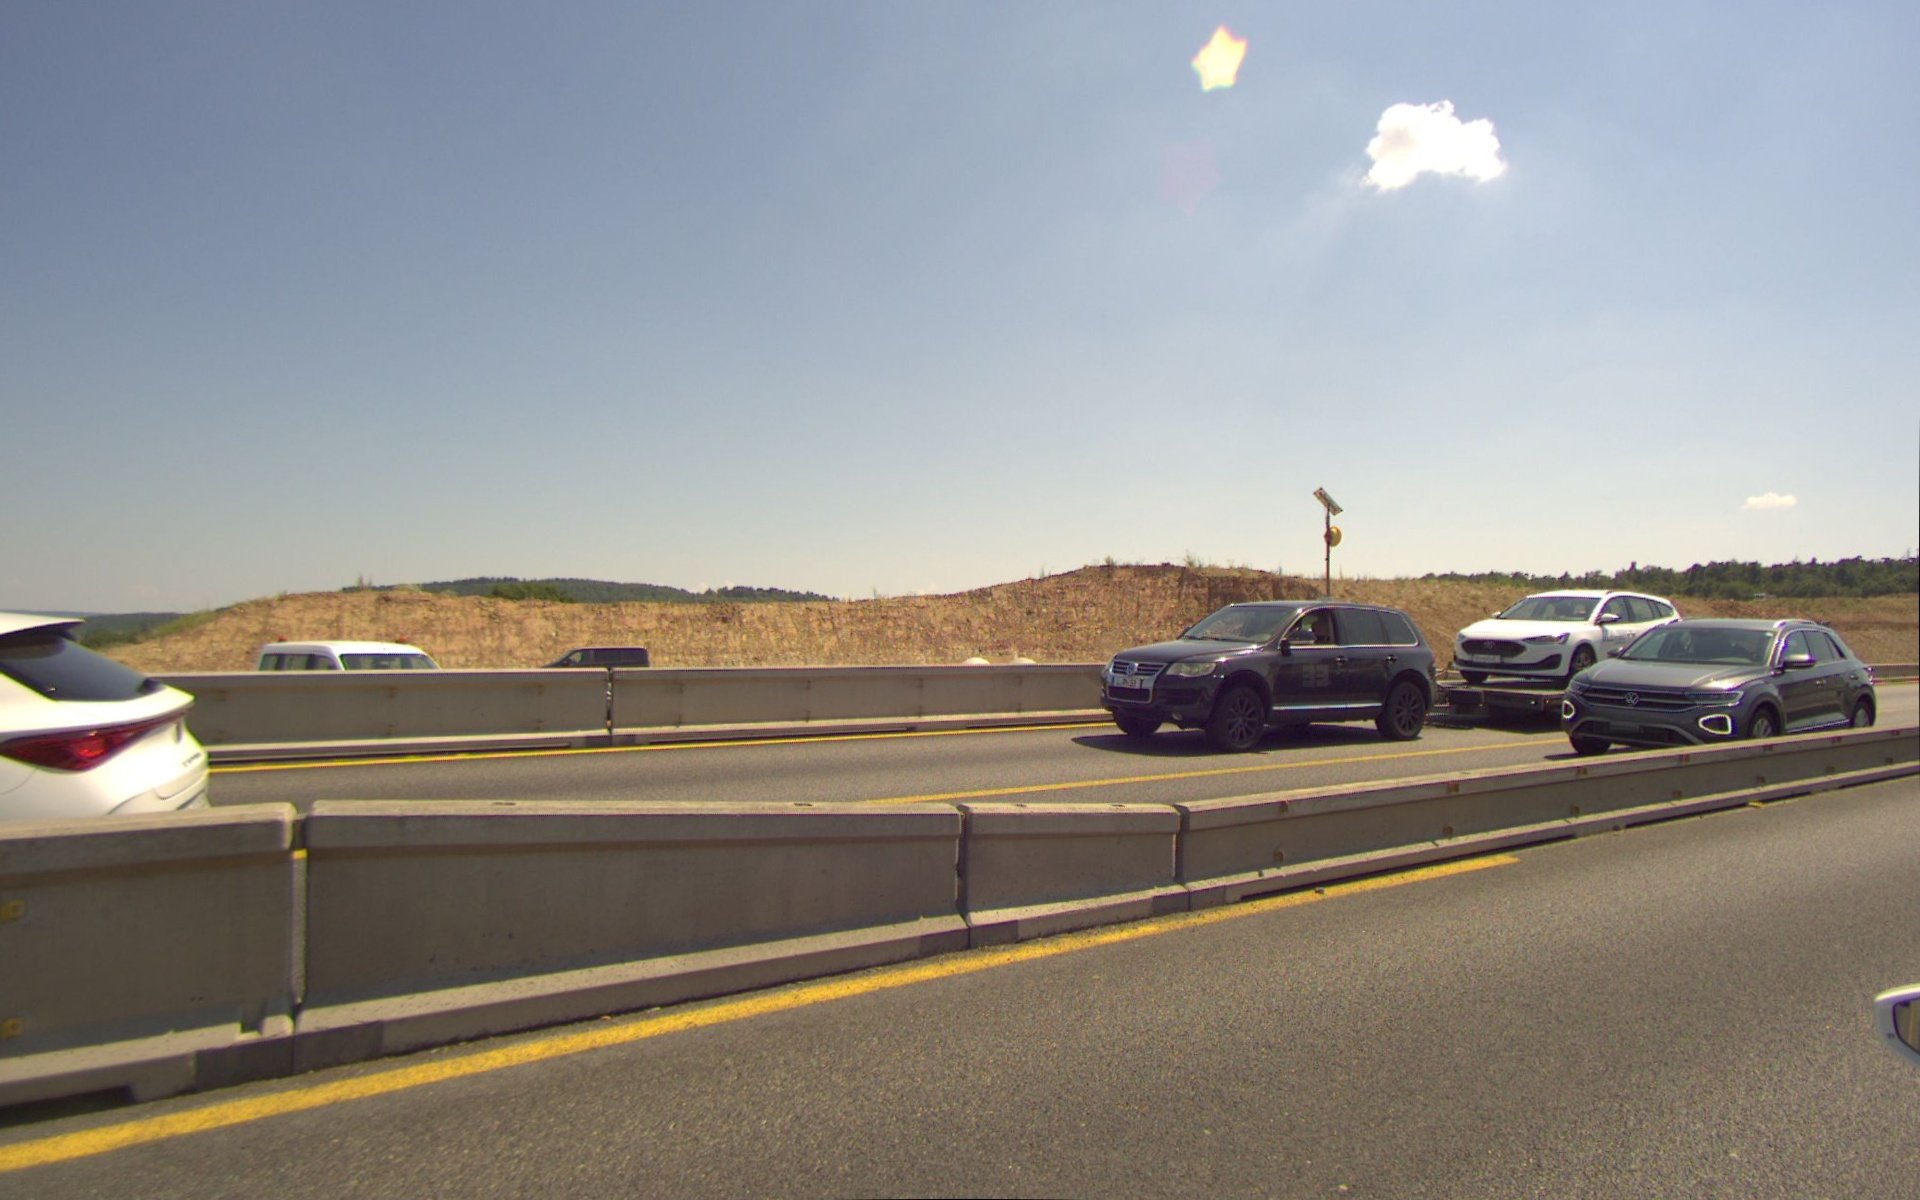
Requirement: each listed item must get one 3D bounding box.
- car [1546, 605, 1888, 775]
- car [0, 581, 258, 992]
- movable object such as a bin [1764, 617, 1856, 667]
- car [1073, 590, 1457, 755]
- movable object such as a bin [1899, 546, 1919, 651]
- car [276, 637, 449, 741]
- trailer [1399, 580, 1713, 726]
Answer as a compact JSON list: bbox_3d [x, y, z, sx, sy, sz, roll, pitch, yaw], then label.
[{"bbox_3d":[8.520,0.899,11.233,4.087,1.600,1.685,1,-1,-31],"label":"car"},{"bbox_3d":[-5.363,0.648,3.523,4.581,1.474,1.807,1,-1,-31],"label":"car"},{"bbox_3d":[44.743,2.194,52.846,6.667,2.493,1.693,1,-1,-31],"label":"movable object such as a bin"},{"bbox_3d":[3.833,0.799,12.383,4.663,1.701,1.914,1,-1,-31],"label":"car"},{"bbox_3d":[74.427,-0.113,73.579,3.404,7.815,7.604,1,-1,-29],"label":"movable object such as a bin"},{"bbox_3d":[-9.919,1.388,16.613,3.154,1.474,1.540,0,-1,41],"label":"car"},{"bbox_3d":[9.576,0.785,16.028,5.174,2.008,2.120,1,-1,-31],"label":"trailer"}]
